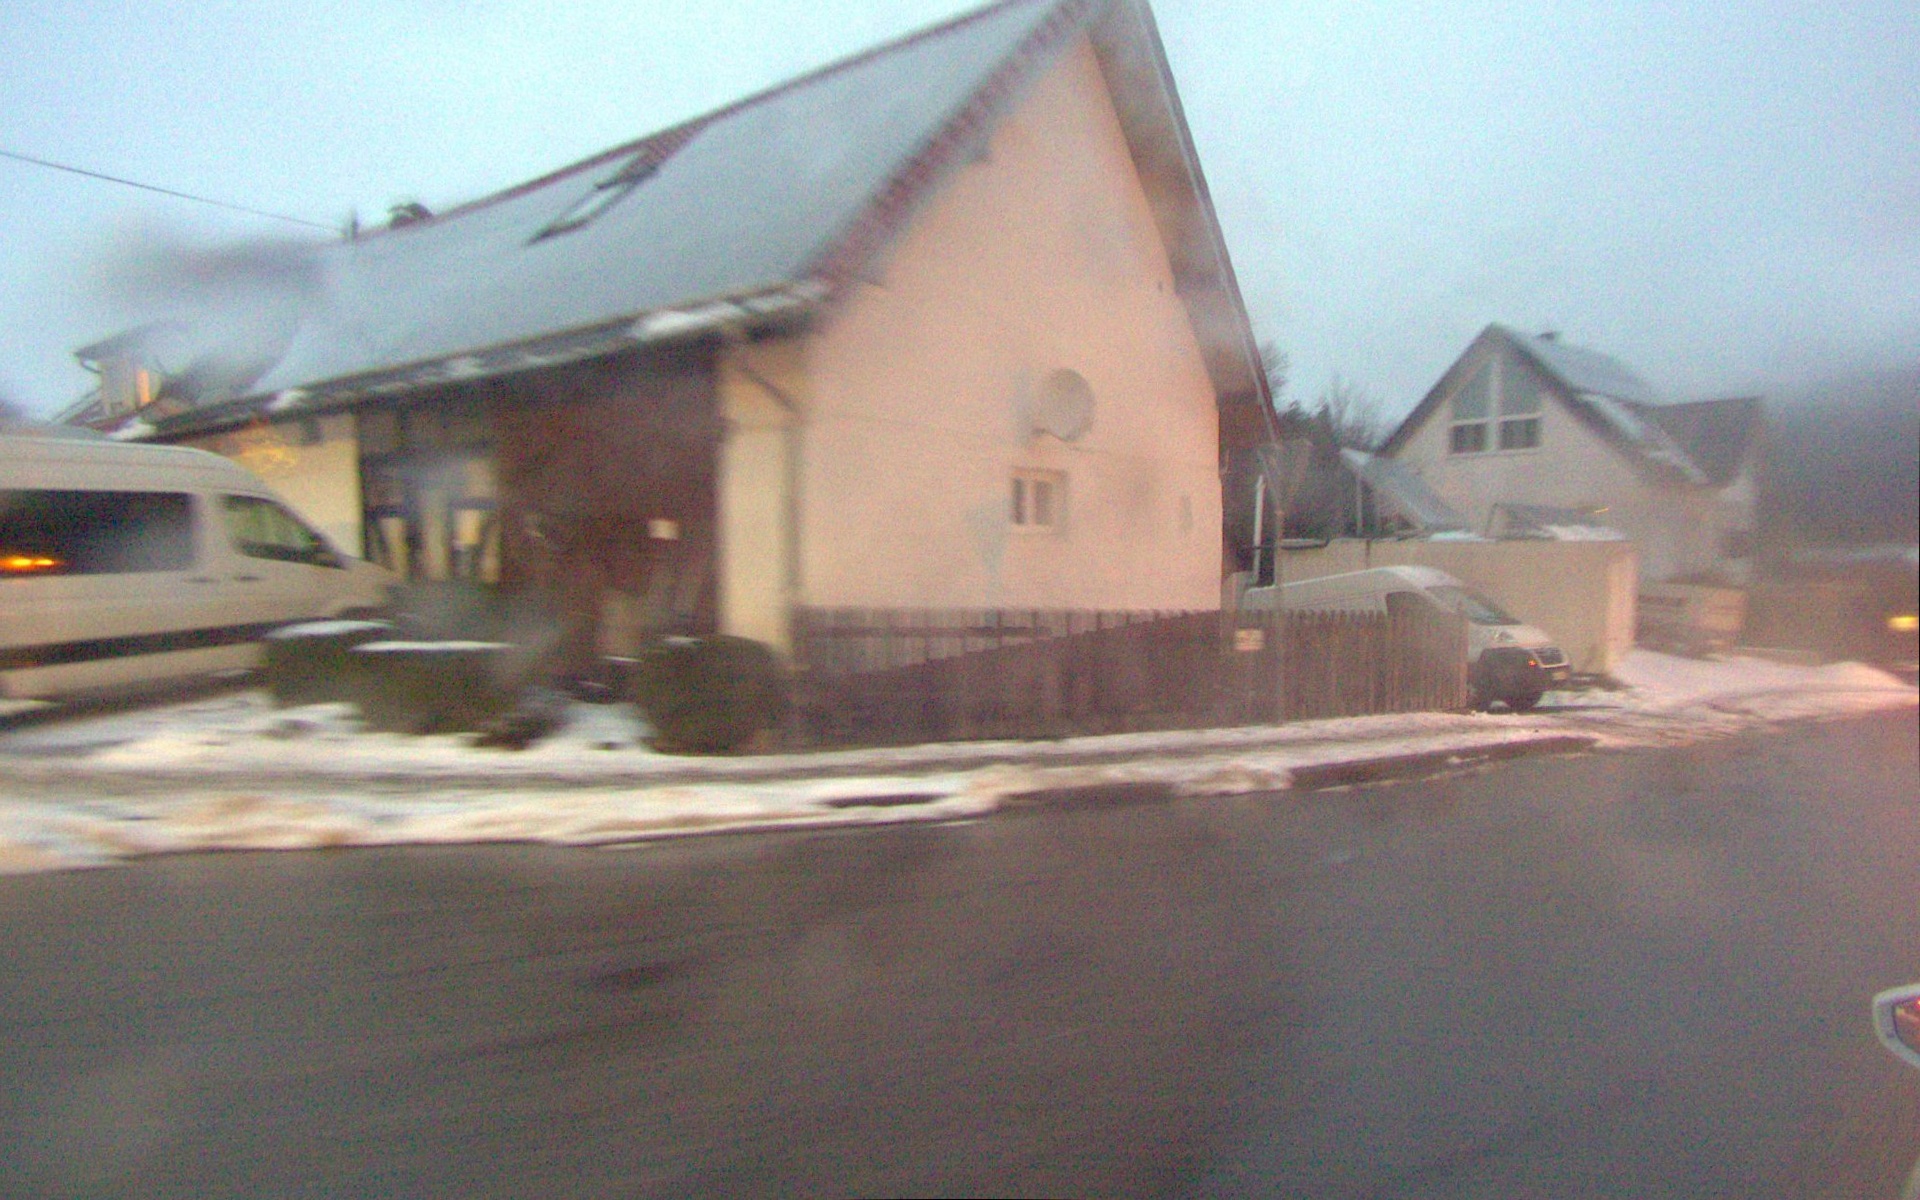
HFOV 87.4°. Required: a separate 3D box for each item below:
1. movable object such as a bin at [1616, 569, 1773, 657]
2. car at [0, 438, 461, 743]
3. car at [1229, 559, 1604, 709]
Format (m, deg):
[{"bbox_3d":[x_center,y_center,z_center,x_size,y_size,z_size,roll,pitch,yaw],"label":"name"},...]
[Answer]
[{"bbox_3d":[16.422,0.255,22.567,1.417,1.671,2.364,2,6,-14],"label":"movable object such as a bin"},{"bbox_3d":[-8.496,-0.224,10.214,1.962,2.588,6.108,1,6,25],"label":"car"},{"bbox_3d":[7.379,0.452,16.812,2.195,2.040,5.220,3,0,-38],"label":"car"}]
